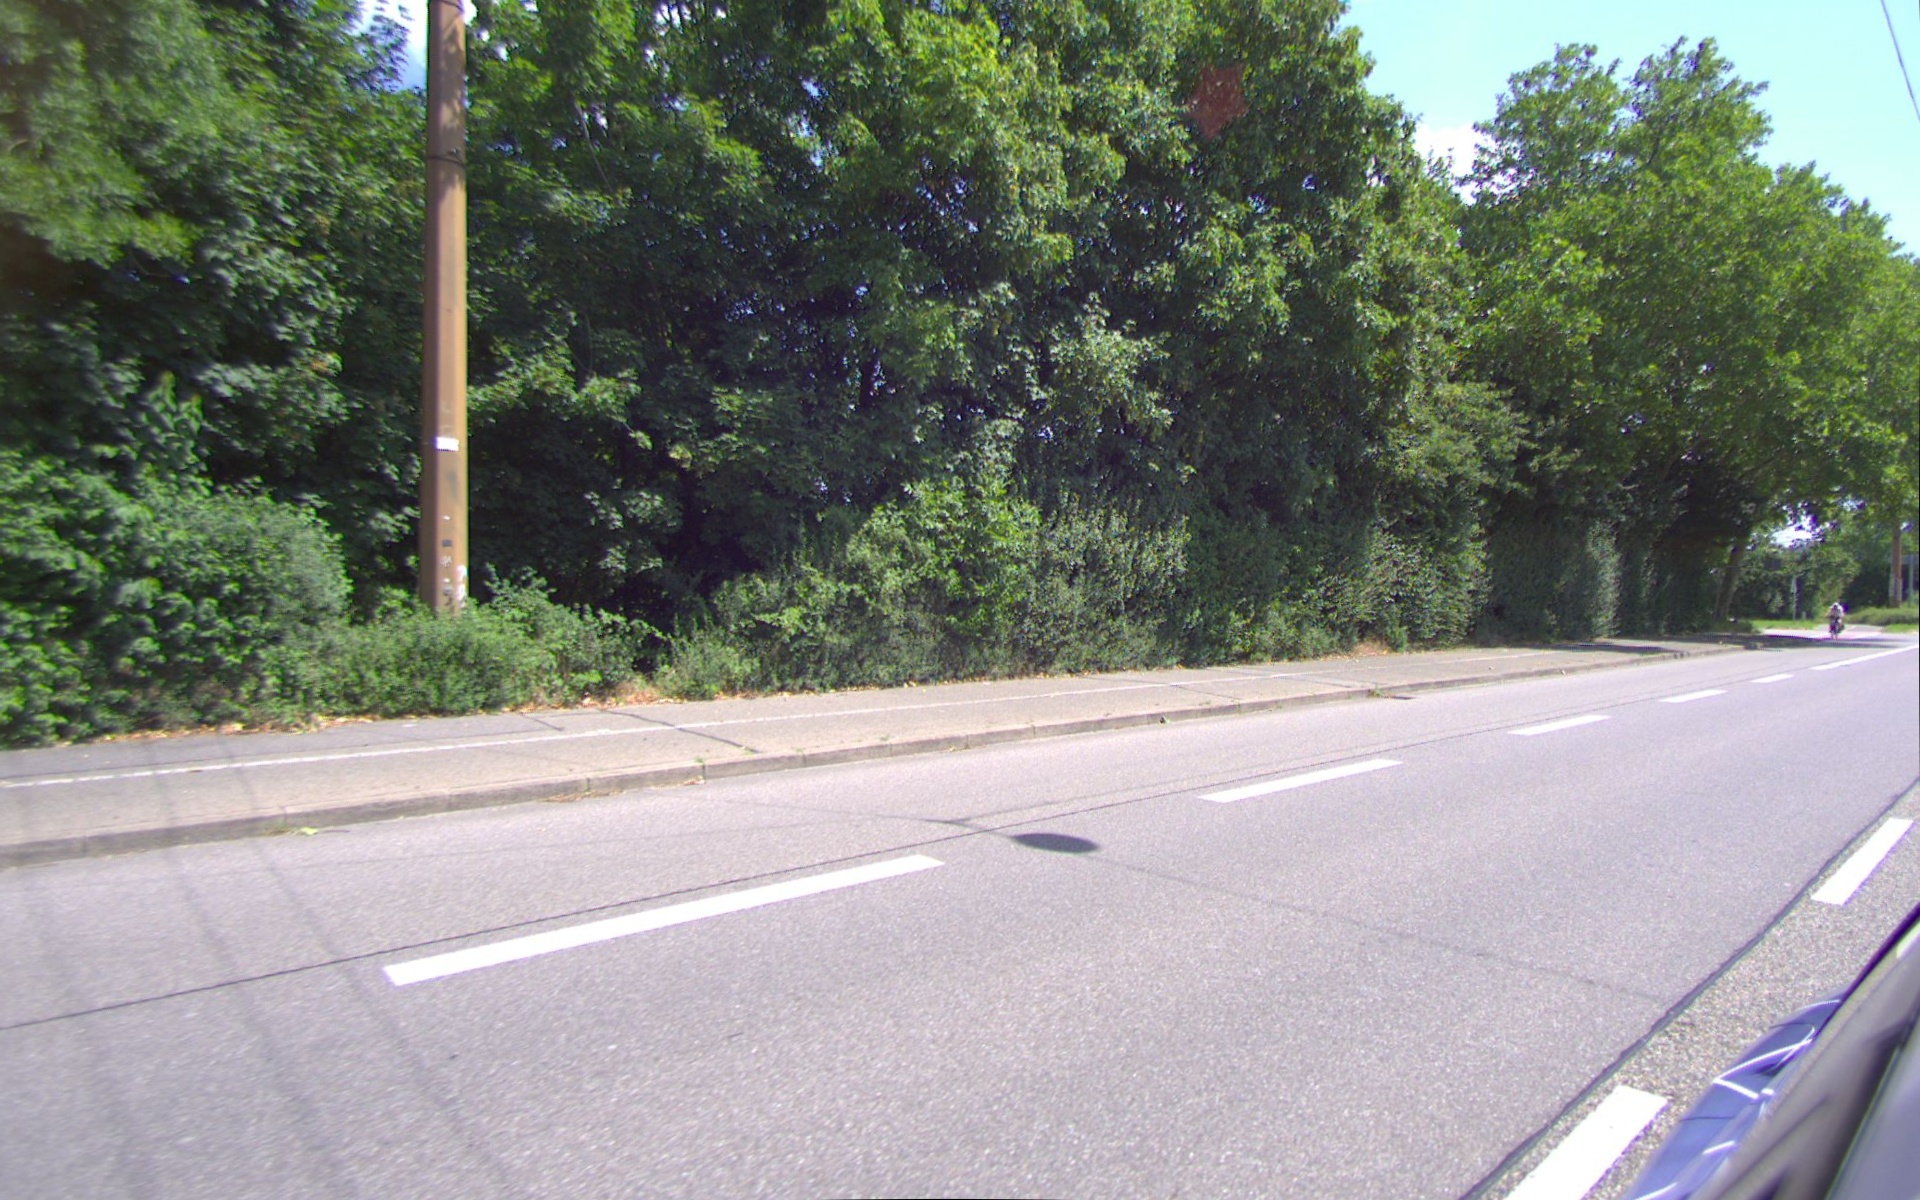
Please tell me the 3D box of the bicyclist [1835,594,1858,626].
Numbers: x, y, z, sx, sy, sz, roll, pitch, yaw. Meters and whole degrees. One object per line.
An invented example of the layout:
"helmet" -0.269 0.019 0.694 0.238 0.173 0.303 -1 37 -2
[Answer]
"bicyclist" 41.908 0.470 47.855 0.629 1.457 0.704 0 1 -39

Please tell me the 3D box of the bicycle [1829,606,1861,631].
"bicycle" 41.749 0.852 47.735 2.492 1.152 0.710 0 1 -39
